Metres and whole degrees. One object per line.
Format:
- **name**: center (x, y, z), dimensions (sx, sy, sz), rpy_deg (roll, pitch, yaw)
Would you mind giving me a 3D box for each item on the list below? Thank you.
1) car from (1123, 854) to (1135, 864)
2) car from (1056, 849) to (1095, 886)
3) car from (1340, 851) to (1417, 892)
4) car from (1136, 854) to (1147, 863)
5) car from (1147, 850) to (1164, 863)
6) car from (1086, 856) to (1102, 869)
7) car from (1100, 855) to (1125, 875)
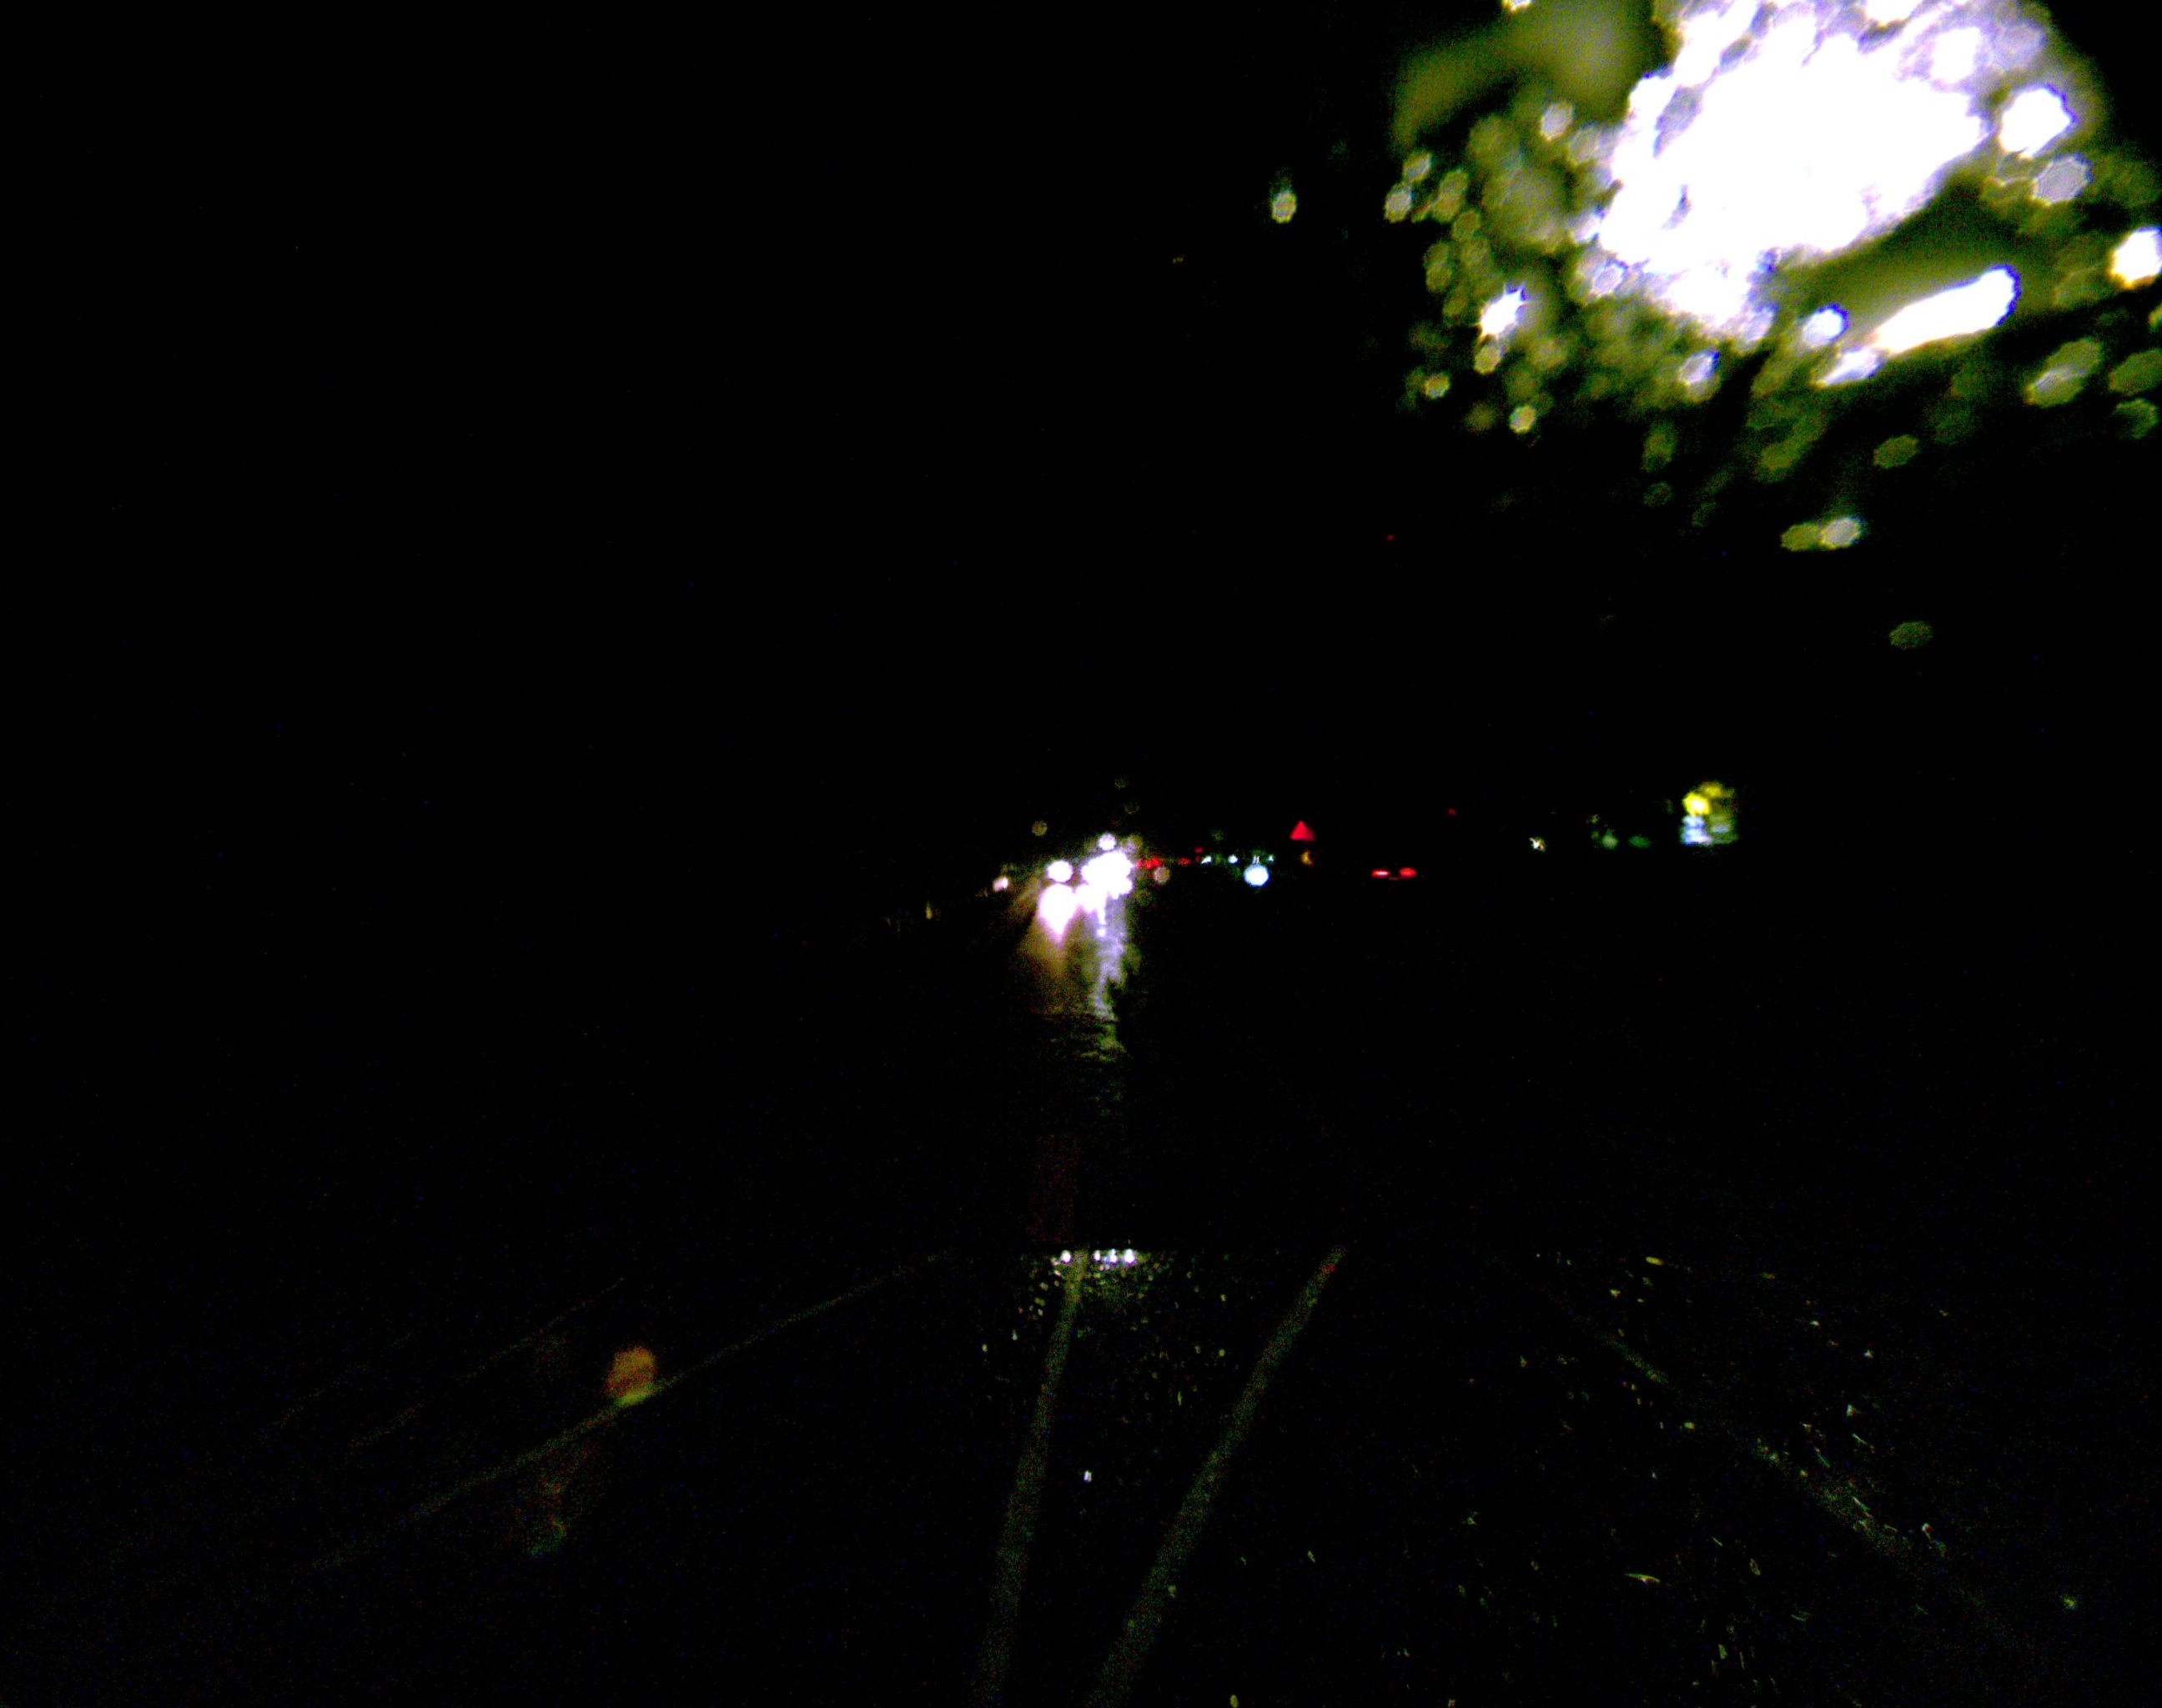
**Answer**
- **car**: center (10.555, 1.160, 167.128), dimensions (1.997, 2.002, 4.003), rpy_deg (-1, 1, 11)
- **car**: center (-0.308, 0.695, 40.404), dimensions (1.877, 1.825, 4.205), rpy_deg (-1, 0, -1)
- **car**: center (13.499, 0.724, 34.745), dimensions (1.712, 1.643, 4.506), rpy_deg (-1, 1, 0)
- **car**: center (10.581, 0.771, 133.409), dimensions (1.807, 1.416, 4.206), rpy_deg (-1, 1, 5)
- **car**: center (10.958, 0.353, 111.816), dimensions (2.093, 1.691, 4.577), rpy_deg (-1, 1, 1)
- **car**: center (1.564, 1.010, 90.447), dimensions (1.808, 1.416, 4.205), rpy_deg (-1, 1, 1)
- **car**: center (2.896, 0.987, 70.386), dimensions (1.914, 1.694, 4.938), rpy_deg (-1, 0, -2)
